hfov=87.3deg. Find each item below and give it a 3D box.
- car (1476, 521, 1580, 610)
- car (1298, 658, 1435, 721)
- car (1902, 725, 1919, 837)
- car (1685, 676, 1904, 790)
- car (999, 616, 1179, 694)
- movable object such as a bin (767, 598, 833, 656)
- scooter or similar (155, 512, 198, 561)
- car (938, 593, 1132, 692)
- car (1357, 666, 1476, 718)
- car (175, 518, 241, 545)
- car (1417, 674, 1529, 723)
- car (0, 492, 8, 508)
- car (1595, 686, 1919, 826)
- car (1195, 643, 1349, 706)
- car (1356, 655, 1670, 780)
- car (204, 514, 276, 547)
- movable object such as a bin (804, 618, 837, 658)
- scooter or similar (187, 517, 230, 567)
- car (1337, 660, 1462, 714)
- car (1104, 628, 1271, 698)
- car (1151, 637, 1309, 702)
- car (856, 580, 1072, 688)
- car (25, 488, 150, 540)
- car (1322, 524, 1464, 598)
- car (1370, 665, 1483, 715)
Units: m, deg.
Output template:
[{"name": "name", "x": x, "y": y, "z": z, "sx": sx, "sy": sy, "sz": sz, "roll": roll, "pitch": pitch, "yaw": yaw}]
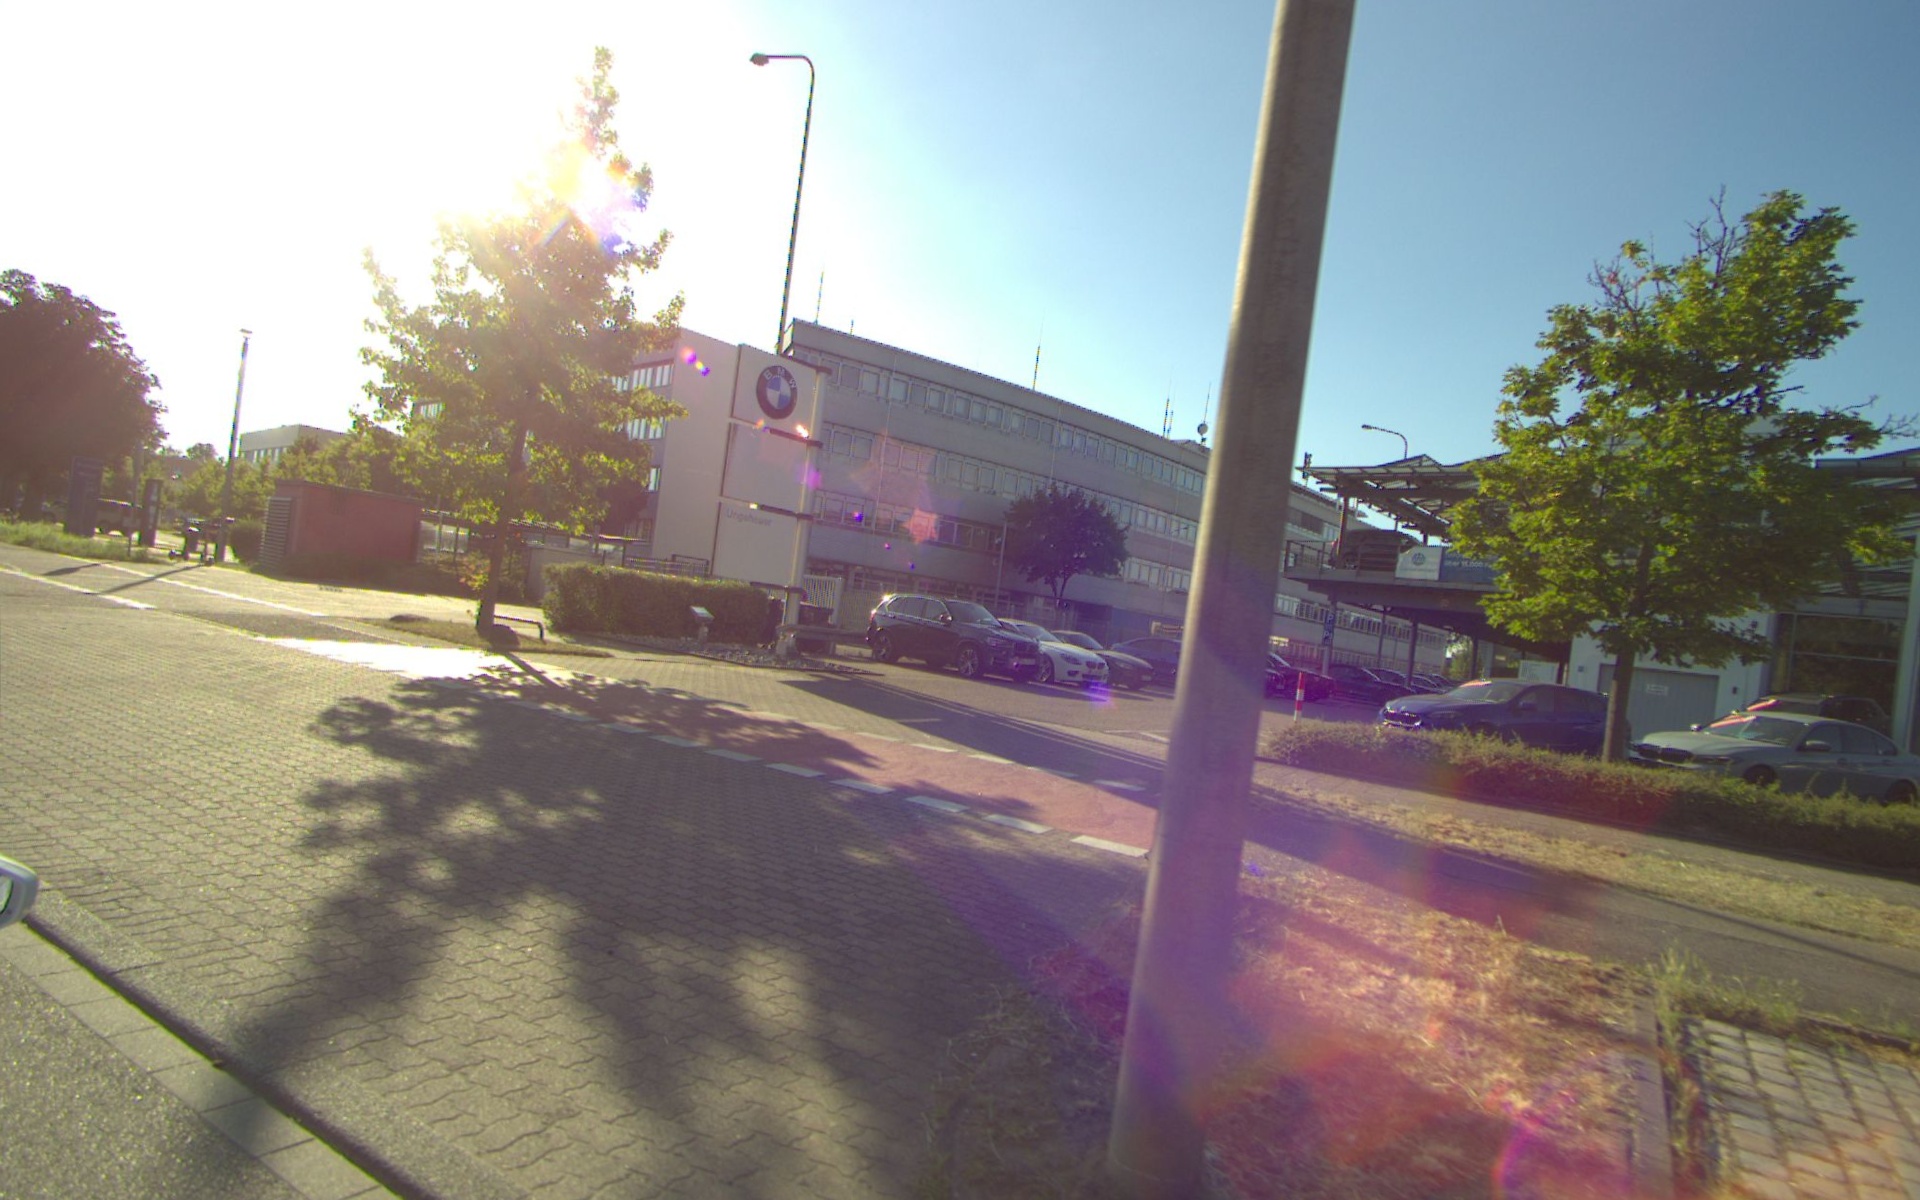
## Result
[{"name": "car", "x": 18.831, "y": -1.088, "z": 33.252, "sx": 1.972, "sy": 2.124, "sz": 4.187, "roll": 7, "pitch": -3, "yaw": 42}, {"name": "car", "x": 16.102, "y": 3.541, "z": 39.987, "sx": 4.496, "sy": 1.811, "sz": 2.029, "roll": 7, "pitch": -1, "yaw": 41}, {"name": "car", "x": 15.435, "y": 2.760, "z": 13.546, "sx": 4.722, "sy": 1.481, "sz": 1.991, "roll": 8, "pitch": -1, "yaw": -20}, {"name": "car", "x": 19.550, "y": 3.114, "z": 23.604, "sx": 4.124, "sy": 2.038, "sz": 1.991, "roll": 8, "pitch": 0, "yaw": -20}, {"name": "car", "x": 3.444, "y": 1.469, "z": 27.482, "sx": 2.026, "sy": 1.449, "sz": 4.503, "roll": 8, "pitch": -1, "yaw": -44}, {"name": "movable object such as a bin", "x": -4.021, "y": 0.685, "z": 25.331, "sx": 1.022, "sy": 1.283, "sz": 1.117, "roll": 7, "pitch": -1, "yaw": 37}, {"name": "scooter or similar", "x": -22.992, "y": -1.868, "z": 29.528, "sx": 1.365, "sy": 1.287, "sz": 0.520, "roll": 7, "pitch": 0, "yaw": 35}, {"name": "car", "x": 1.790, "y": 1.018, "z": 25.289, "sx": 2.026, "sy": 1.850, "sz": 4.503, "roll": 8, "pitch": -1, "yaw": -44}, {"name": "car", "x": 21.202, "y": 4.262, "z": 46.805, "sx": 4.496, "sy": 1.693, "sz": 2.029, "roll": 7, "pitch": -1, "yaw": 41}, {"name": "car", "x": -59.363, "y": -5.366, "z": 79.465, "sx": 1.734, "sy": 1.545, "sz": 4.305, "roll": 8, "pitch": -1, "yaw": 2}, {"name": "car", "x": 25.495, "y": 4.889, "z": 50.090, "sx": 4.496, "sy": 1.693, "sz": 2.029, "roll": 7, "pitch": -1, "yaw": 41}, {"name": "car", "x": -111.111, "y": -11.773, "z": 113.978, "sx": 2.031, "sy": 1.724, "sz": 4.428, "roll": 7, "pitch": -4, "yaw": 42}, {"name": "car", "x": 12.529, "y": 2.388, "z": 15.383, "sx": 4.717, "sy": 1.481, "sz": 2.040, "roll": 7, "pitch": 0, "yaw": -16}, {"name": "car", "x": 10.621, "y": 2.515, "z": 34.421, "sx": 2.026, "sy": 1.473, "sz": 4.503, "roll": 8, "pitch": -1, "yaw": -44}, {"name": "car", "x": 9.465, "y": 2.010, "z": 17.266, "sx": 4.721, "sy": 1.481, "sz": 1.991, "roll": 7, "pitch": 0, "yaw": -20}, {"name": "car", "x": -51.465, "y": -4.932, "z": 72.031, "sx": 1.735, "sy": 1.770, "sz": 4.496, "roll": 8, "pitch": -1, "yaw": -1}, {"name": "movable object such as a bin", "x": -3.660, "y": 0.998, "z": 26.398, "sx": 0.595, "sy": 0.932, "sz": 0.504, "roll": 7, "pitch": 0, "yaw": 40}, {"name": "scooter or similar", "x": -21.493, "y": -1.660, "z": 28.765, "sx": 1.181, "sy": 1.287, "sz": 0.520, "roll": 7, "pitch": 0, "yaw": 35}, {"name": "car", "x": 19.360, "y": 3.829, "z": 44.420, "sx": 4.496, "sy": 1.693, "sz": 2.029, "roll": 7, "pitch": -1, "yaw": 41}, {"name": "car", "x": 6.862, "y": 1.895, "z": 30.703, "sx": 2.026, "sy": 1.449, "sz": 4.503, "roll": 8, "pitch": -1, "yaw": -44}, {"name": "car", "x": 8.764, "y": 2.247, "z": 32.907, "sx": 2.026, "sy": 1.449, "sz": 4.503, "roll": 8, "pitch": -1, "yaw": -44}, {"name": "car", "x": -0.028, "y": 0.729, "z": 23.424, "sx": 2.026, "sy": 1.850, "sz": 4.913, "roll": 8, "pitch": -1, "yaw": -44}, {"name": "car", "x": -48.605, "y": -4.759, "z": 56.123, "sx": 4.866, "sy": 1.956, "sz": 2.000, "roll": 9, "pitch": -1, "yaw": -3}, {"name": "car", "x": 15.734, "y": -1.440, "z": 36.646, "sx": 4.143, "sy": 2.124, "sz": 1.993, "roll": 7, "pitch": -3, "yaw": 42}, {"name": "car", "x": 22.676, "y": 4.361, "z": 48.982, "sx": 4.496, "sy": 1.693, "sz": 2.029, "roll": 7, "pitch": -1, "yaw": 41}]
